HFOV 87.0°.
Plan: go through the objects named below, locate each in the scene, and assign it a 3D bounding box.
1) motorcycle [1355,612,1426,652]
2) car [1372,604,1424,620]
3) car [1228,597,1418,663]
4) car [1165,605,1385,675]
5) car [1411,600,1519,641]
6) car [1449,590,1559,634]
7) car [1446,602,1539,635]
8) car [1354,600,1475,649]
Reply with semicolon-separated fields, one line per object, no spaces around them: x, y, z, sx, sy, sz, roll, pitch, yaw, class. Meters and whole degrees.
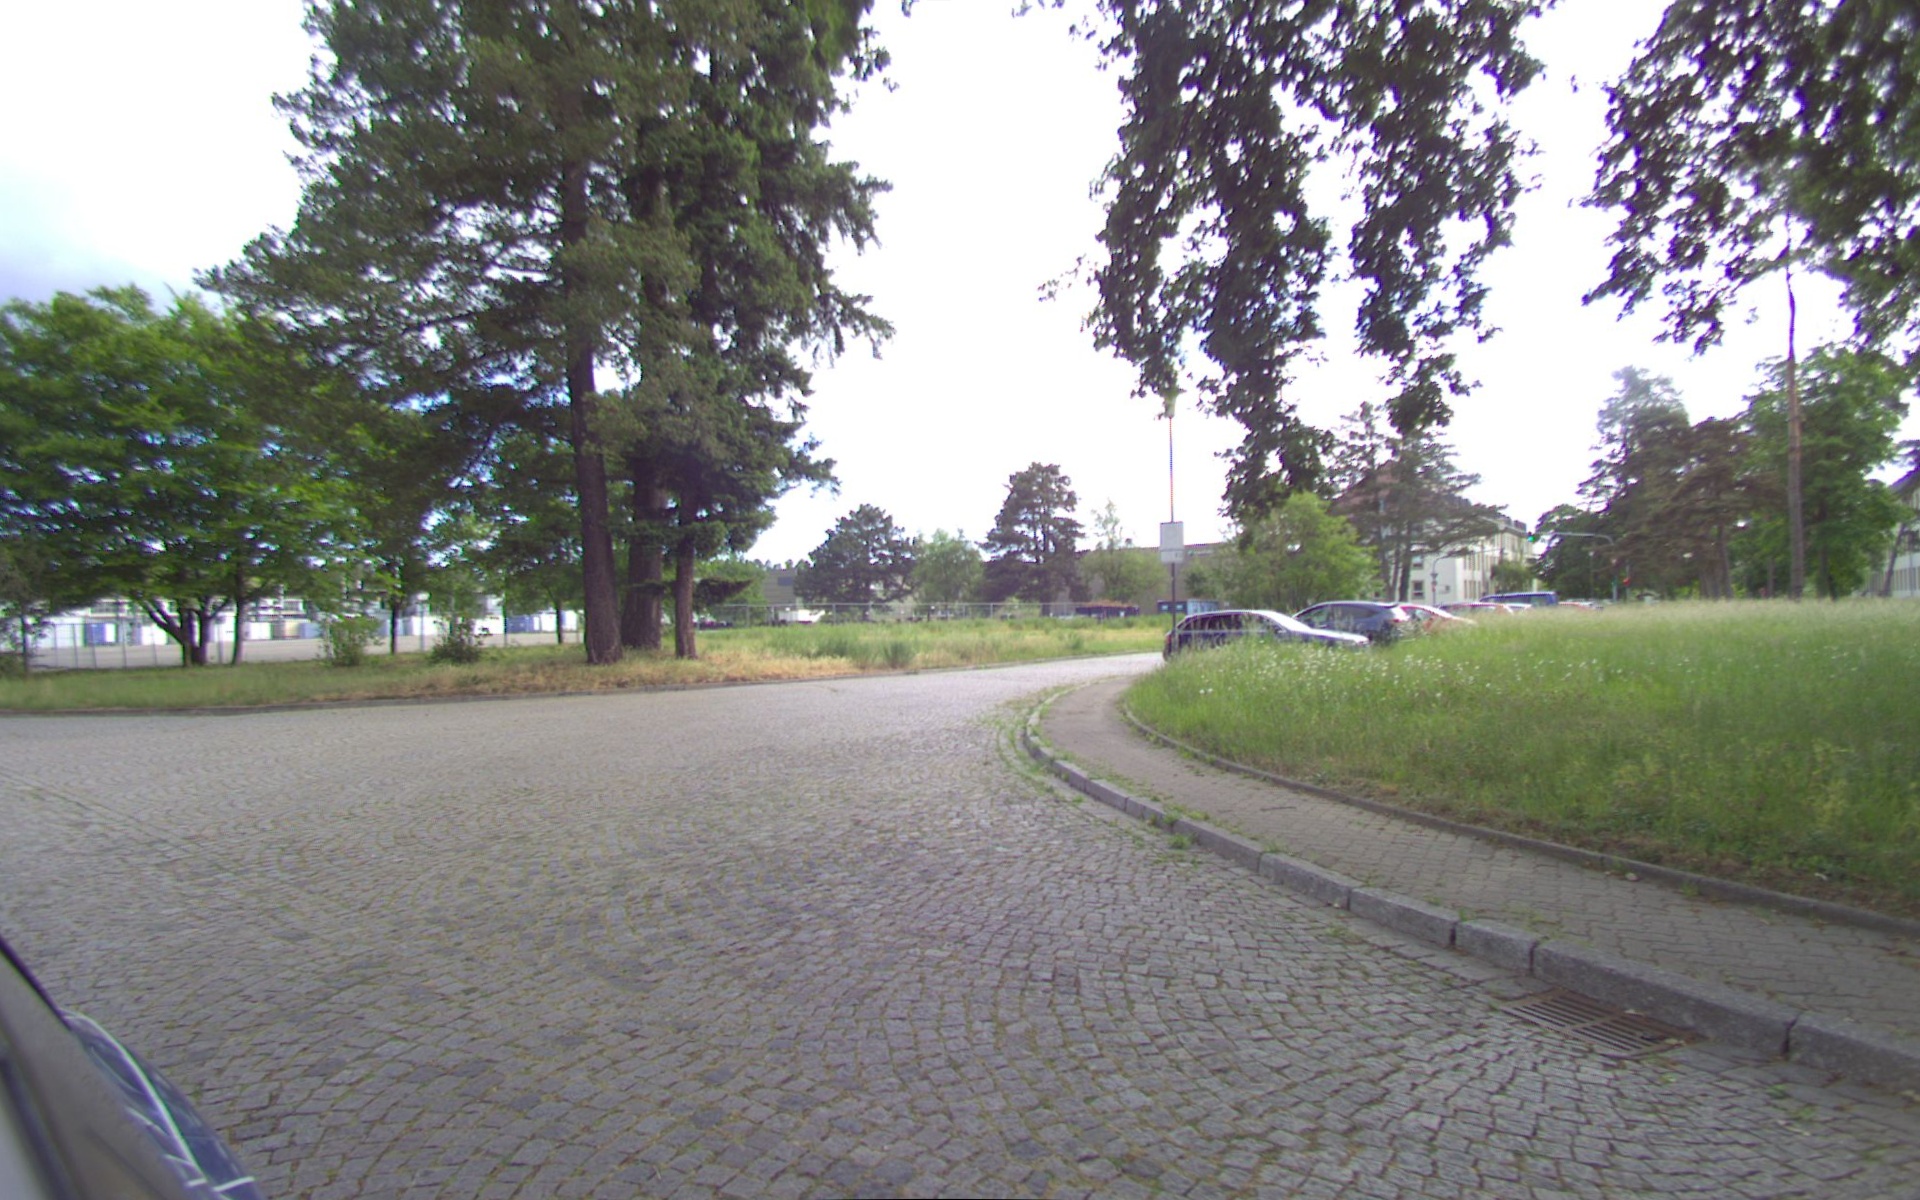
13.156;0.987;30.954;1.909;1.202;0.544;-2;-1;33;motorcycle
32.206;0.897;74.428;3.260;1.095;1.433;-2;-1;34;car
9.511;0.809;26.644;4.357;1.574;1.743;-3;-2;36;car
6.980;0.922;22.711;4.351;1.415;1.741;-4;-2;40;car
20.300;0.846;40.735;3.655;1.432;1.558;-4;-2;36;car
26.882;0.627;50.075;4.536;1.916;1.771;-4;-2;36;car
25.305;0.903;48.147;3.688;1.349;1.564;-4;-2;36;car
15.607;0.837;34.797;3.492;1.493;1.583;-4;-2;36;car
